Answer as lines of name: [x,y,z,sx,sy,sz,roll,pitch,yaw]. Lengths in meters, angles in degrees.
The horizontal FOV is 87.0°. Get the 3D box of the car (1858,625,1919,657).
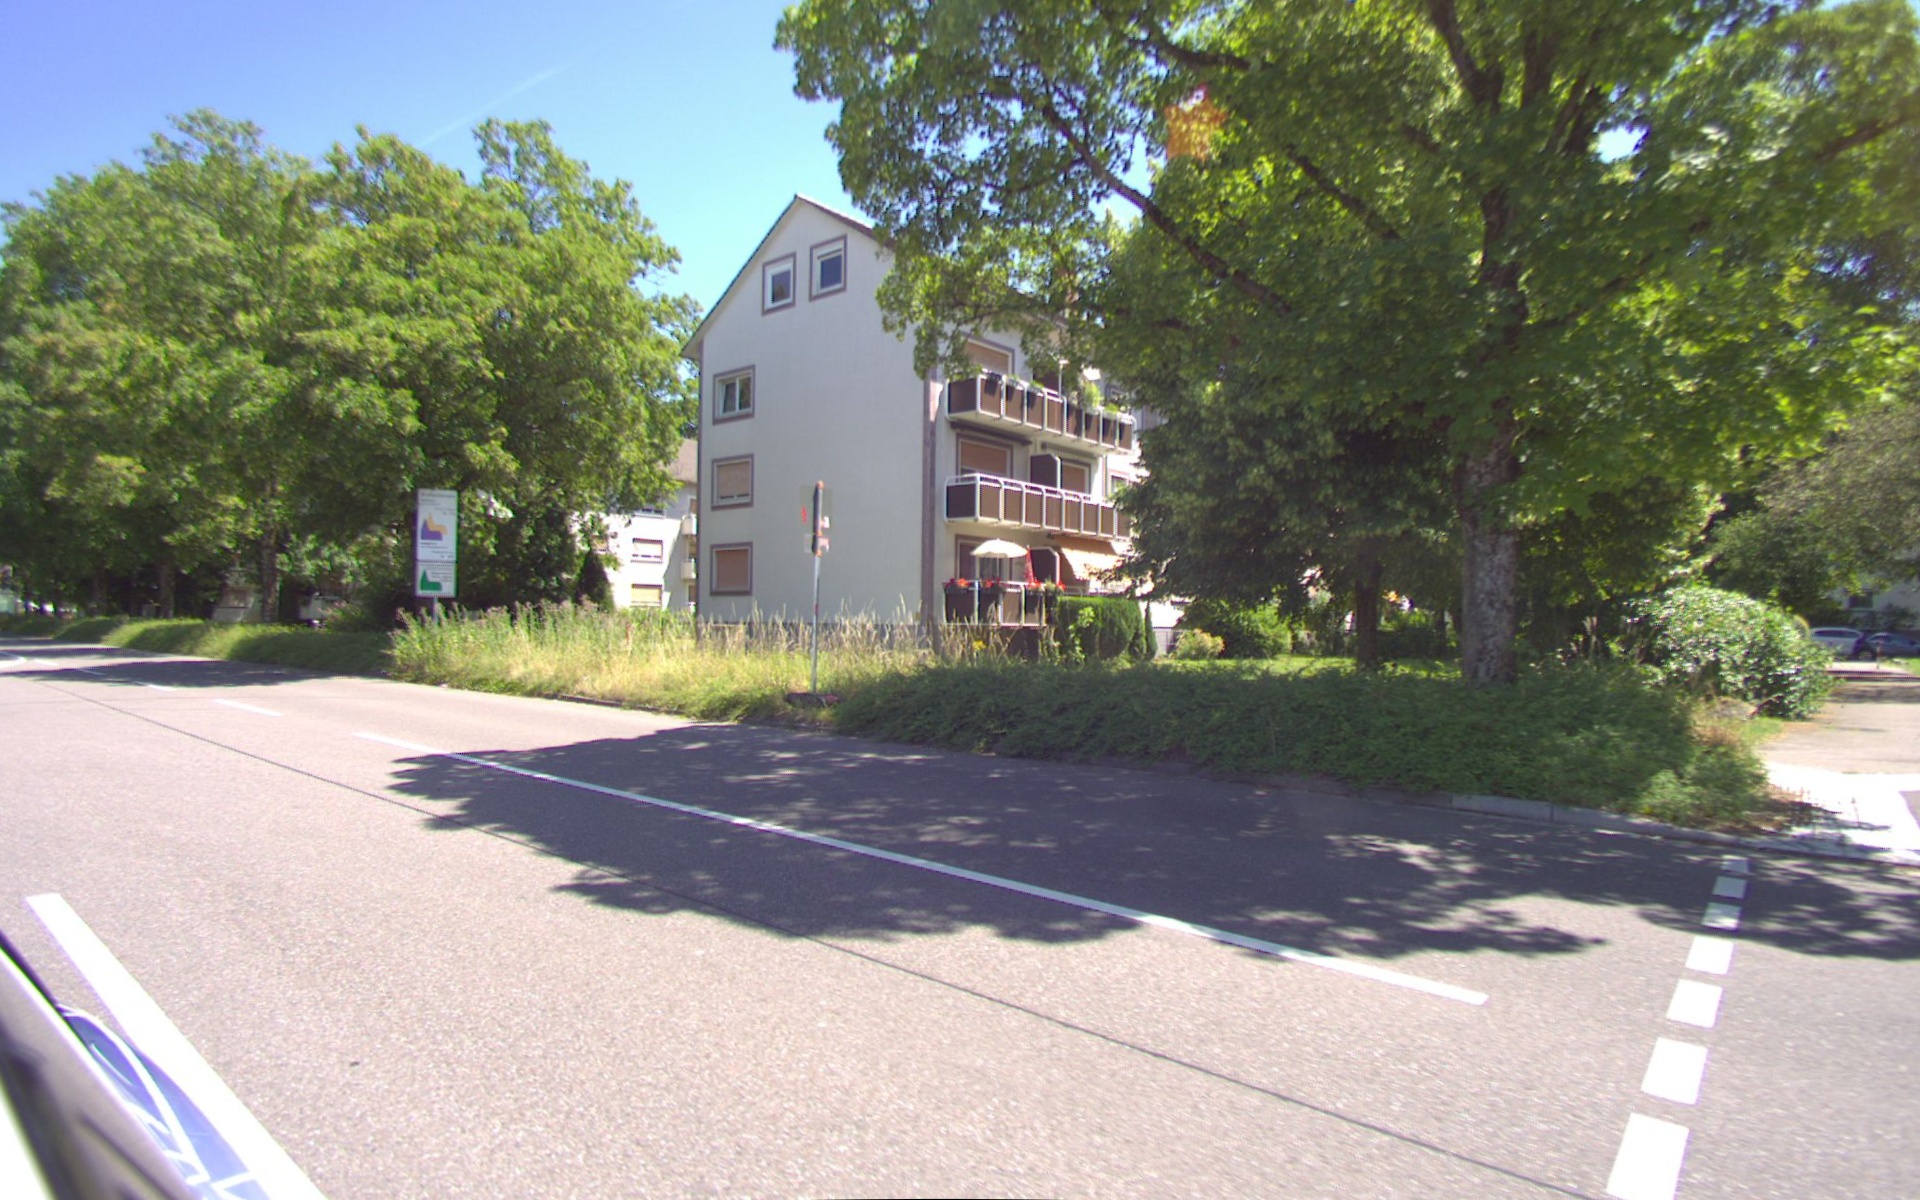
car: [47.320,2.020,50.687,1.661,1.518,3.403,0,-1,-45]
